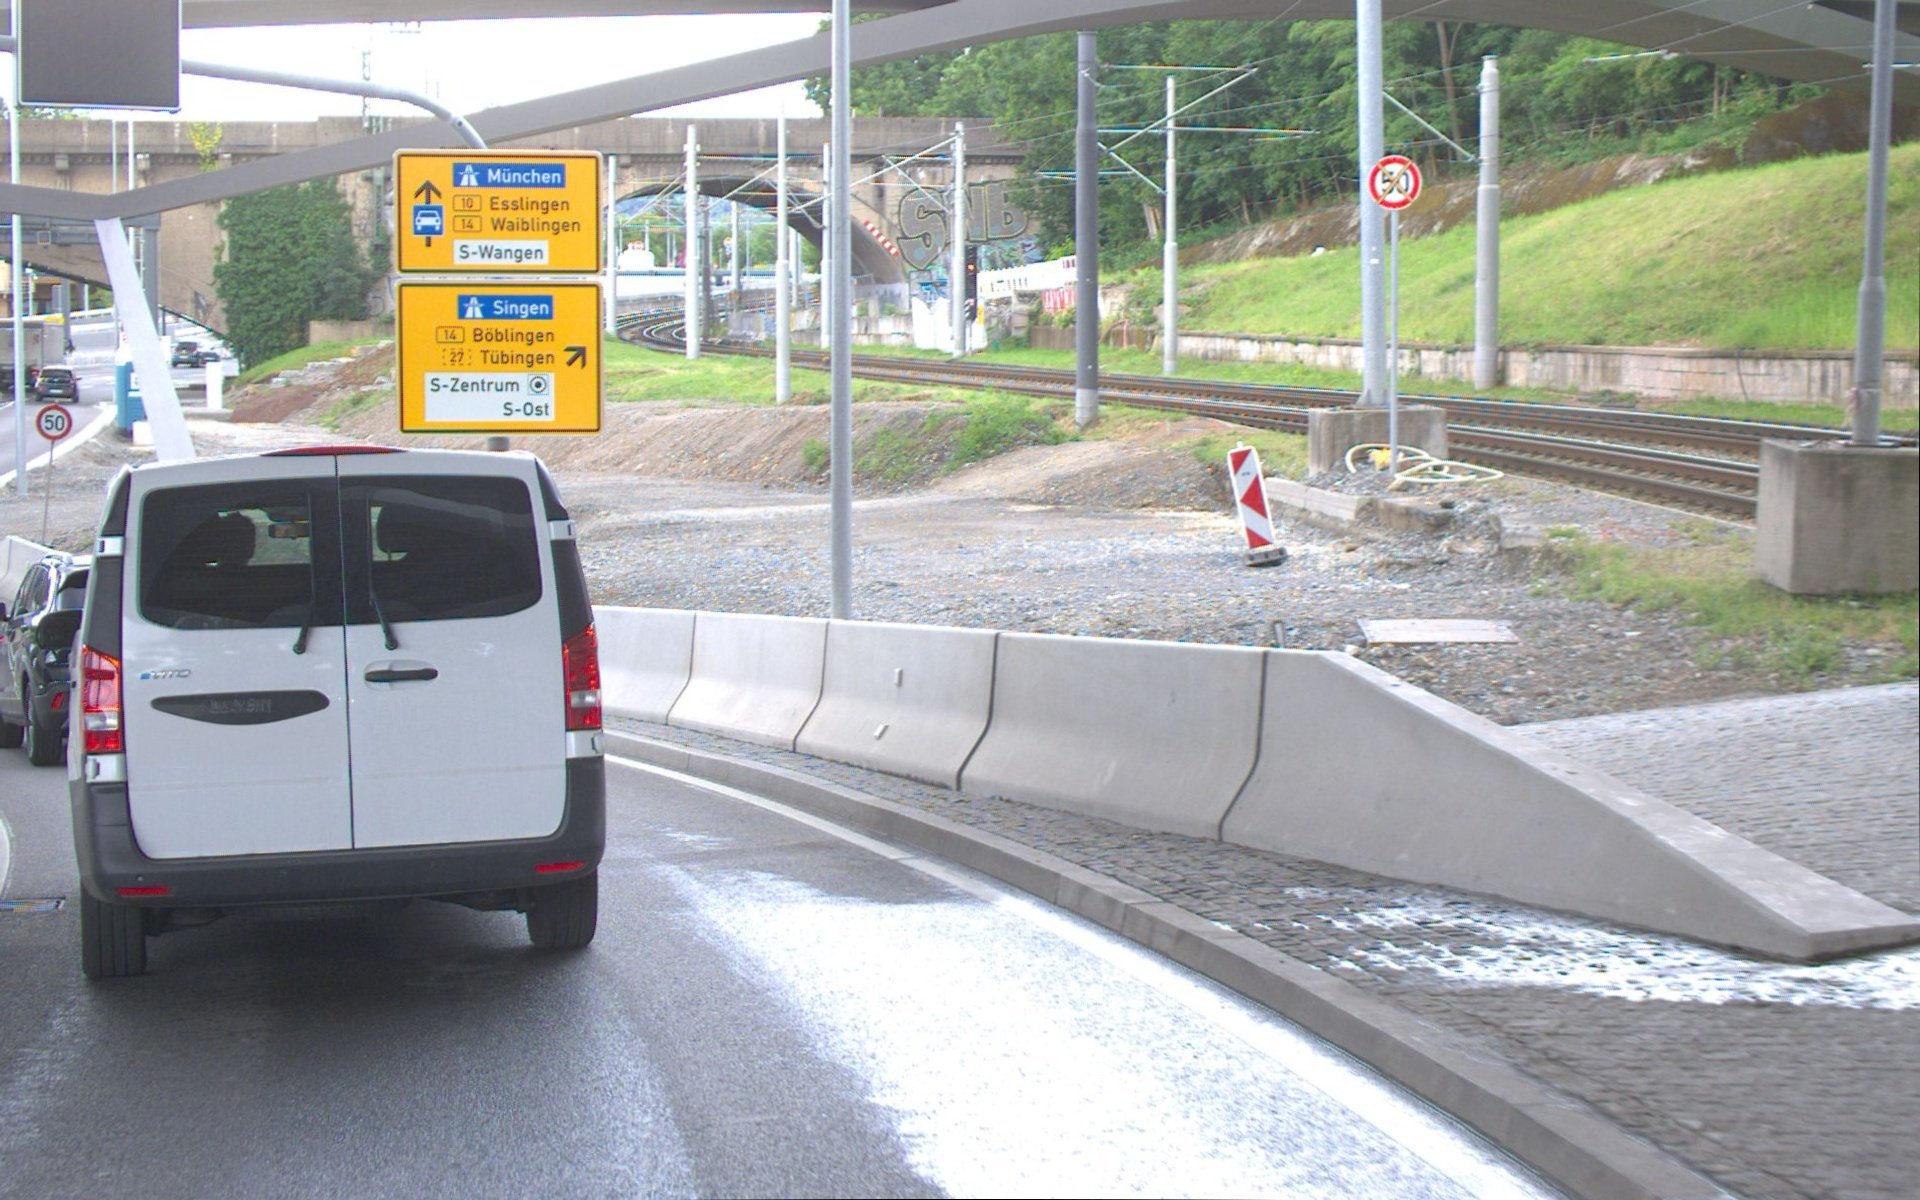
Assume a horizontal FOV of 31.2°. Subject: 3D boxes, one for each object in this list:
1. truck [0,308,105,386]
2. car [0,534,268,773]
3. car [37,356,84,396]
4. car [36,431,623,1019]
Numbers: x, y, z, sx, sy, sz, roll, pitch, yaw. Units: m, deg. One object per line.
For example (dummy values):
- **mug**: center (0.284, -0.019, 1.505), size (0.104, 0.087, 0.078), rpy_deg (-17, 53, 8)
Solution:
- **truck**: center (-42.127, -11.545, 157.141), size (3.395, 3.138, 7.254), rpy_deg (3, 2, 7)
- **car**: center (-6.600, 0.347, 26.853), size (1.749, 1.619, 3.846), rpy_deg (-1, 3, -20)
- **car**: center (-37.786, -9.392, 144.479), size (1.623, 1.579, 4.002), rpy_deg (0, 3, -11)
- **car**: center (-2.685, 0.371, 13.878), size (1.876, 1.884, 4.754), rpy_deg (-2, 1, -14)
